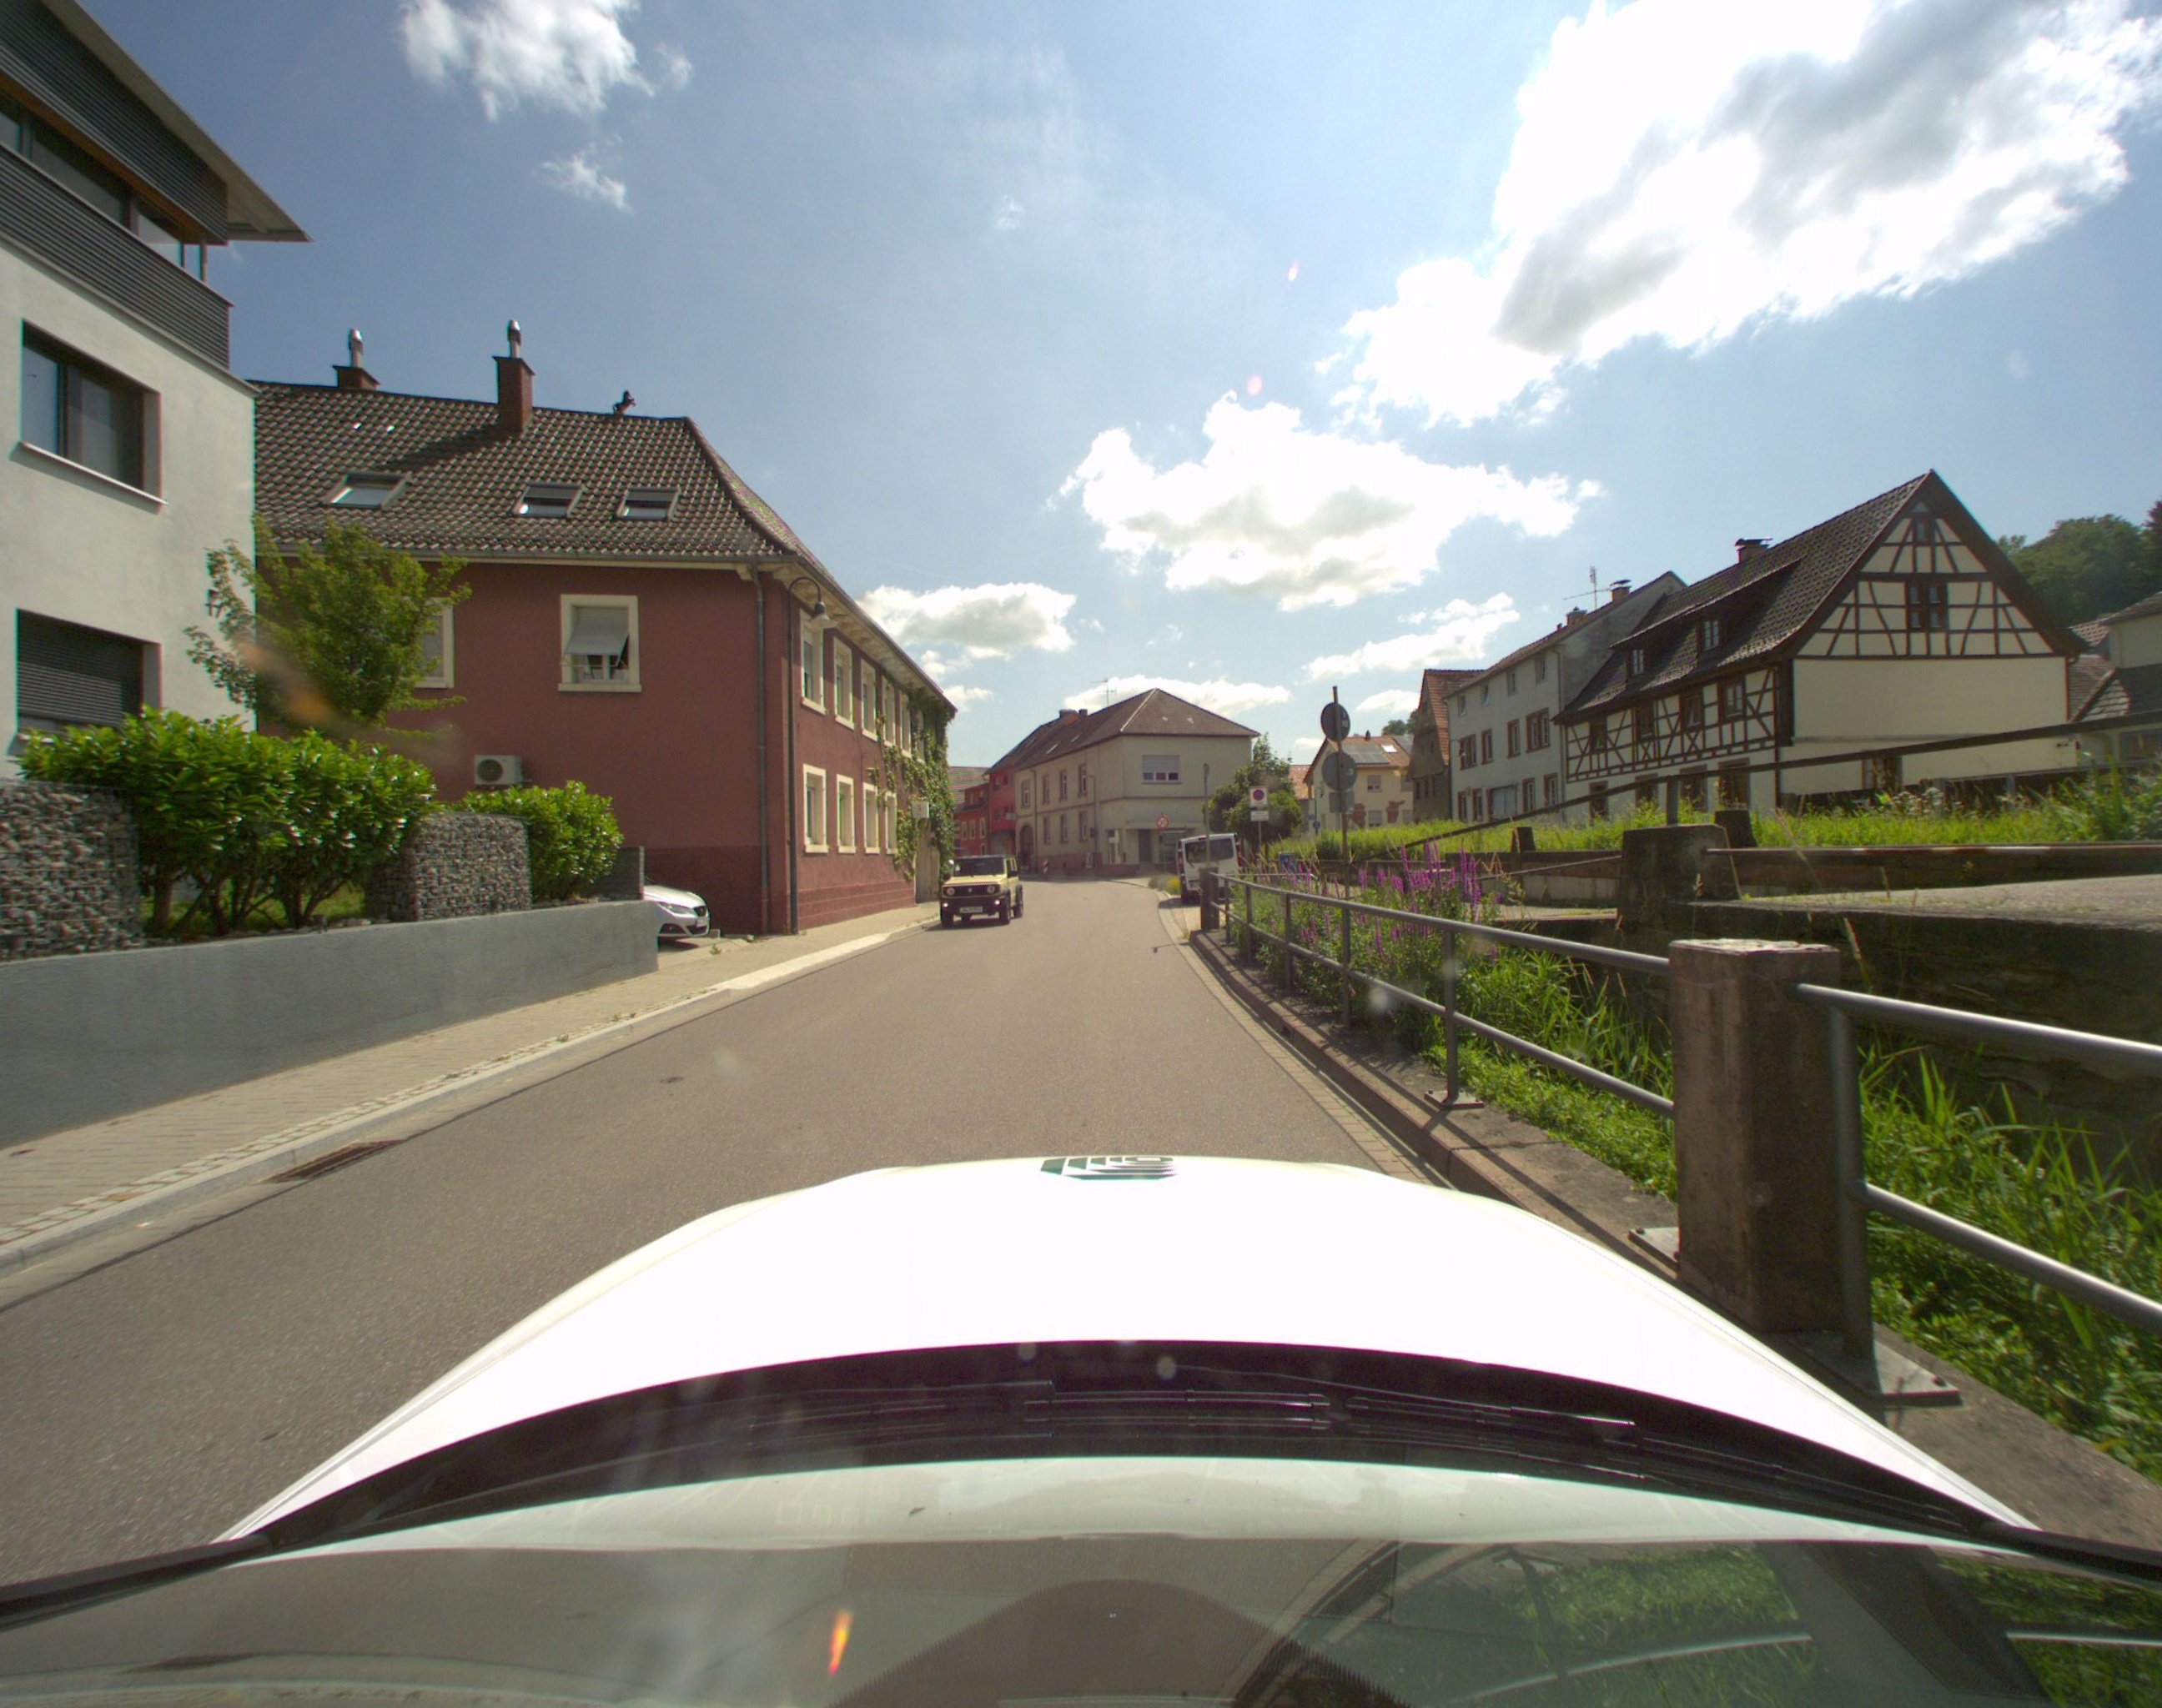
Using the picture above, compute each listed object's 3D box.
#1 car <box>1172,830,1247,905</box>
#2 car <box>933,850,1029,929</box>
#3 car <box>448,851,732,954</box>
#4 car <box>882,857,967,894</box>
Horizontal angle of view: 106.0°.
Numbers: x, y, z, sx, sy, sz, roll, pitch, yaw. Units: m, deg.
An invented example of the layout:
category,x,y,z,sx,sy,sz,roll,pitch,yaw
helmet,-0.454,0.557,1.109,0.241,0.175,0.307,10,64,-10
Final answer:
category,x,y,z,sx,sy,sz,roll,pitch,yaw
car,3.772,0.368,24.364,1.889,1.980,3.118,-4,0,5
car,-2.421,0.808,20.492,1.614,1.719,3.478,-4,0,5
car,-7.863,0.738,13.270,3.552,1.406,1.652,3,0,1
car,-7.503,1.042,38.929,3.949,1.530,2.012,-6,-4,44
